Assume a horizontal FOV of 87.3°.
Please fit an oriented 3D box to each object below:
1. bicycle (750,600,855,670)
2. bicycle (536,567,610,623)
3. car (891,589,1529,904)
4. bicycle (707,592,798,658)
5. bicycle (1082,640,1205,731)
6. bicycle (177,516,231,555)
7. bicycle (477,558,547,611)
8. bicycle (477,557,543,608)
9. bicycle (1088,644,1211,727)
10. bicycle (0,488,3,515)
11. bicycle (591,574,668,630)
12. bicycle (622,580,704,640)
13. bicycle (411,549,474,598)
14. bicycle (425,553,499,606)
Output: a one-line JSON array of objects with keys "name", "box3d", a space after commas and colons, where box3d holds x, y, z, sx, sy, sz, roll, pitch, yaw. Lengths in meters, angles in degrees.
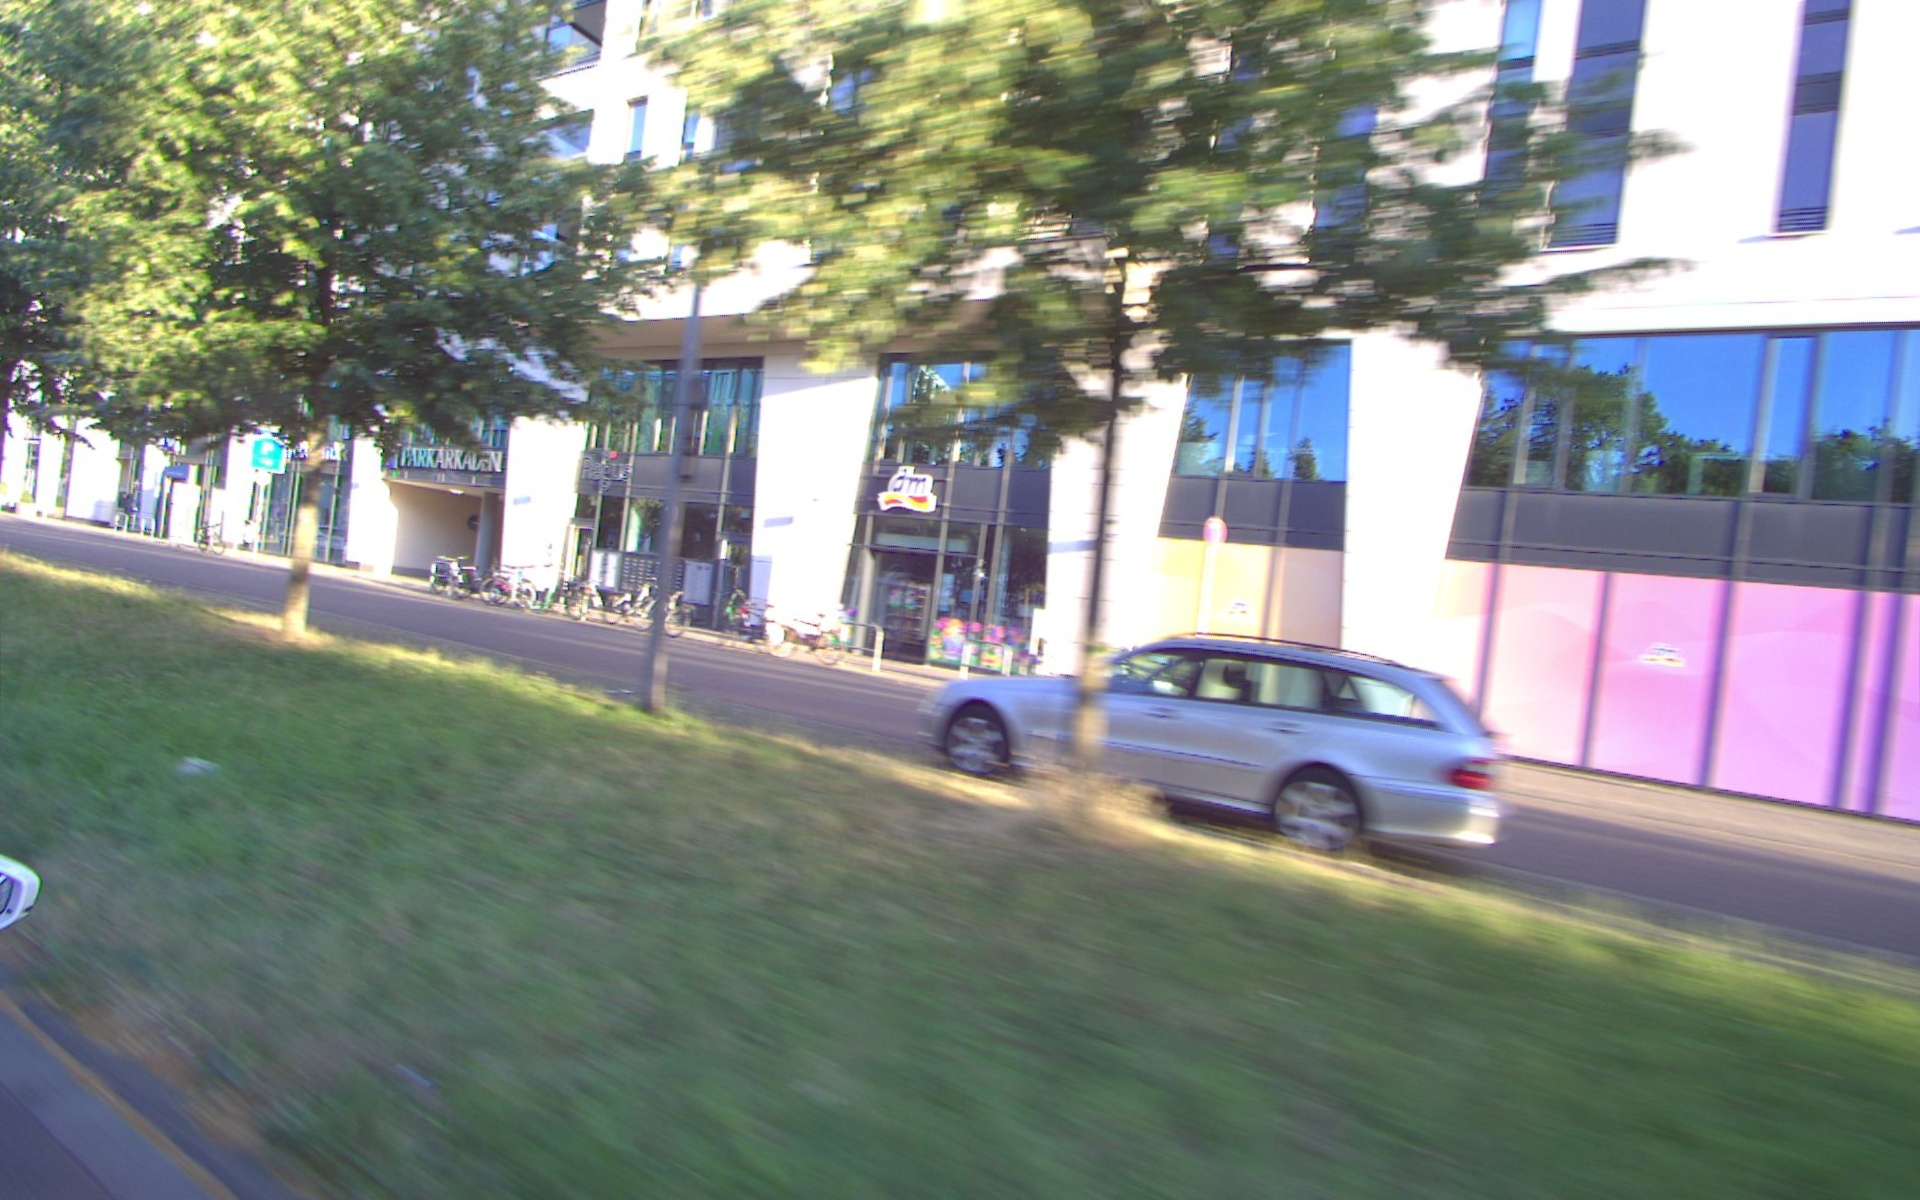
[{"name": "bicycle", "box3d": [-2.986, 0.642, 19.017, 1.822, 1.075, 0.534, 7, 2, 19]}, {"name": "bicycle", "box3d": [-8.994, -0.122, 23.355, 1.826, 1.075, 0.533, 8, 2, 32]}, {"name": "car", "box3d": [1.957, 1.003, 8.429, 4.744, 1.519, 1.812, 8, 0, 31]}, {"name": "bicycle", "box3d": [-4.188, 0.496, 20.217, 1.826, 1.075, 0.533, 8, 2, 32]}, {"name": "bicycle", "box3d": [2.939, 1.343, 16.182, 1.751, 1.179, 0.538, 8, 2, 32]}, {"name": "bicycle", "box3d": [-25.018, -2.128, 33.289, 2.021, 1.051, 0.653, 7, 0, 32]}, {"name": "bicycle", "box3d": [-11.021, -0.383, 24.719, 1.826, 1.074, 0.534, 7, 0, 32]}, {"name": "bicycle", "box3d": [-11.505, -0.457, 25.712, 1.826, 1.075, 0.533, 7, 2, 32]}, {"name": "bicycle", "box3d": [3.122, 1.384, 16.558, 1.822, 1.075, 0.534, 7, 2, 19]}, {"name": "bicycle", "box3d": [-41.974, -4.322, 43.604, 1.808, 1.139, 0.569, 8, 2, 43]}, {"name": "bicycle", "box3d": [-7.608, 0.037, 23.124, 1.826, 1.075, 0.533, 8, 2, 32]}, {"name": "bicycle", "box3d": [-6.405, 0.213, 21.672, 1.826, 1.075, 0.533, 8, 2, 32]}, {"name": "bicycle", "box3d": [-13.547, -0.691, 26.300, 1.826, 1.075, 0.533, 8, 2, 32]}, {"name": "bicycle", "box3d": [-12.198, -0.509, 24.637, 1.748, 1.075, 0.534, 7, 2, 22]}]
